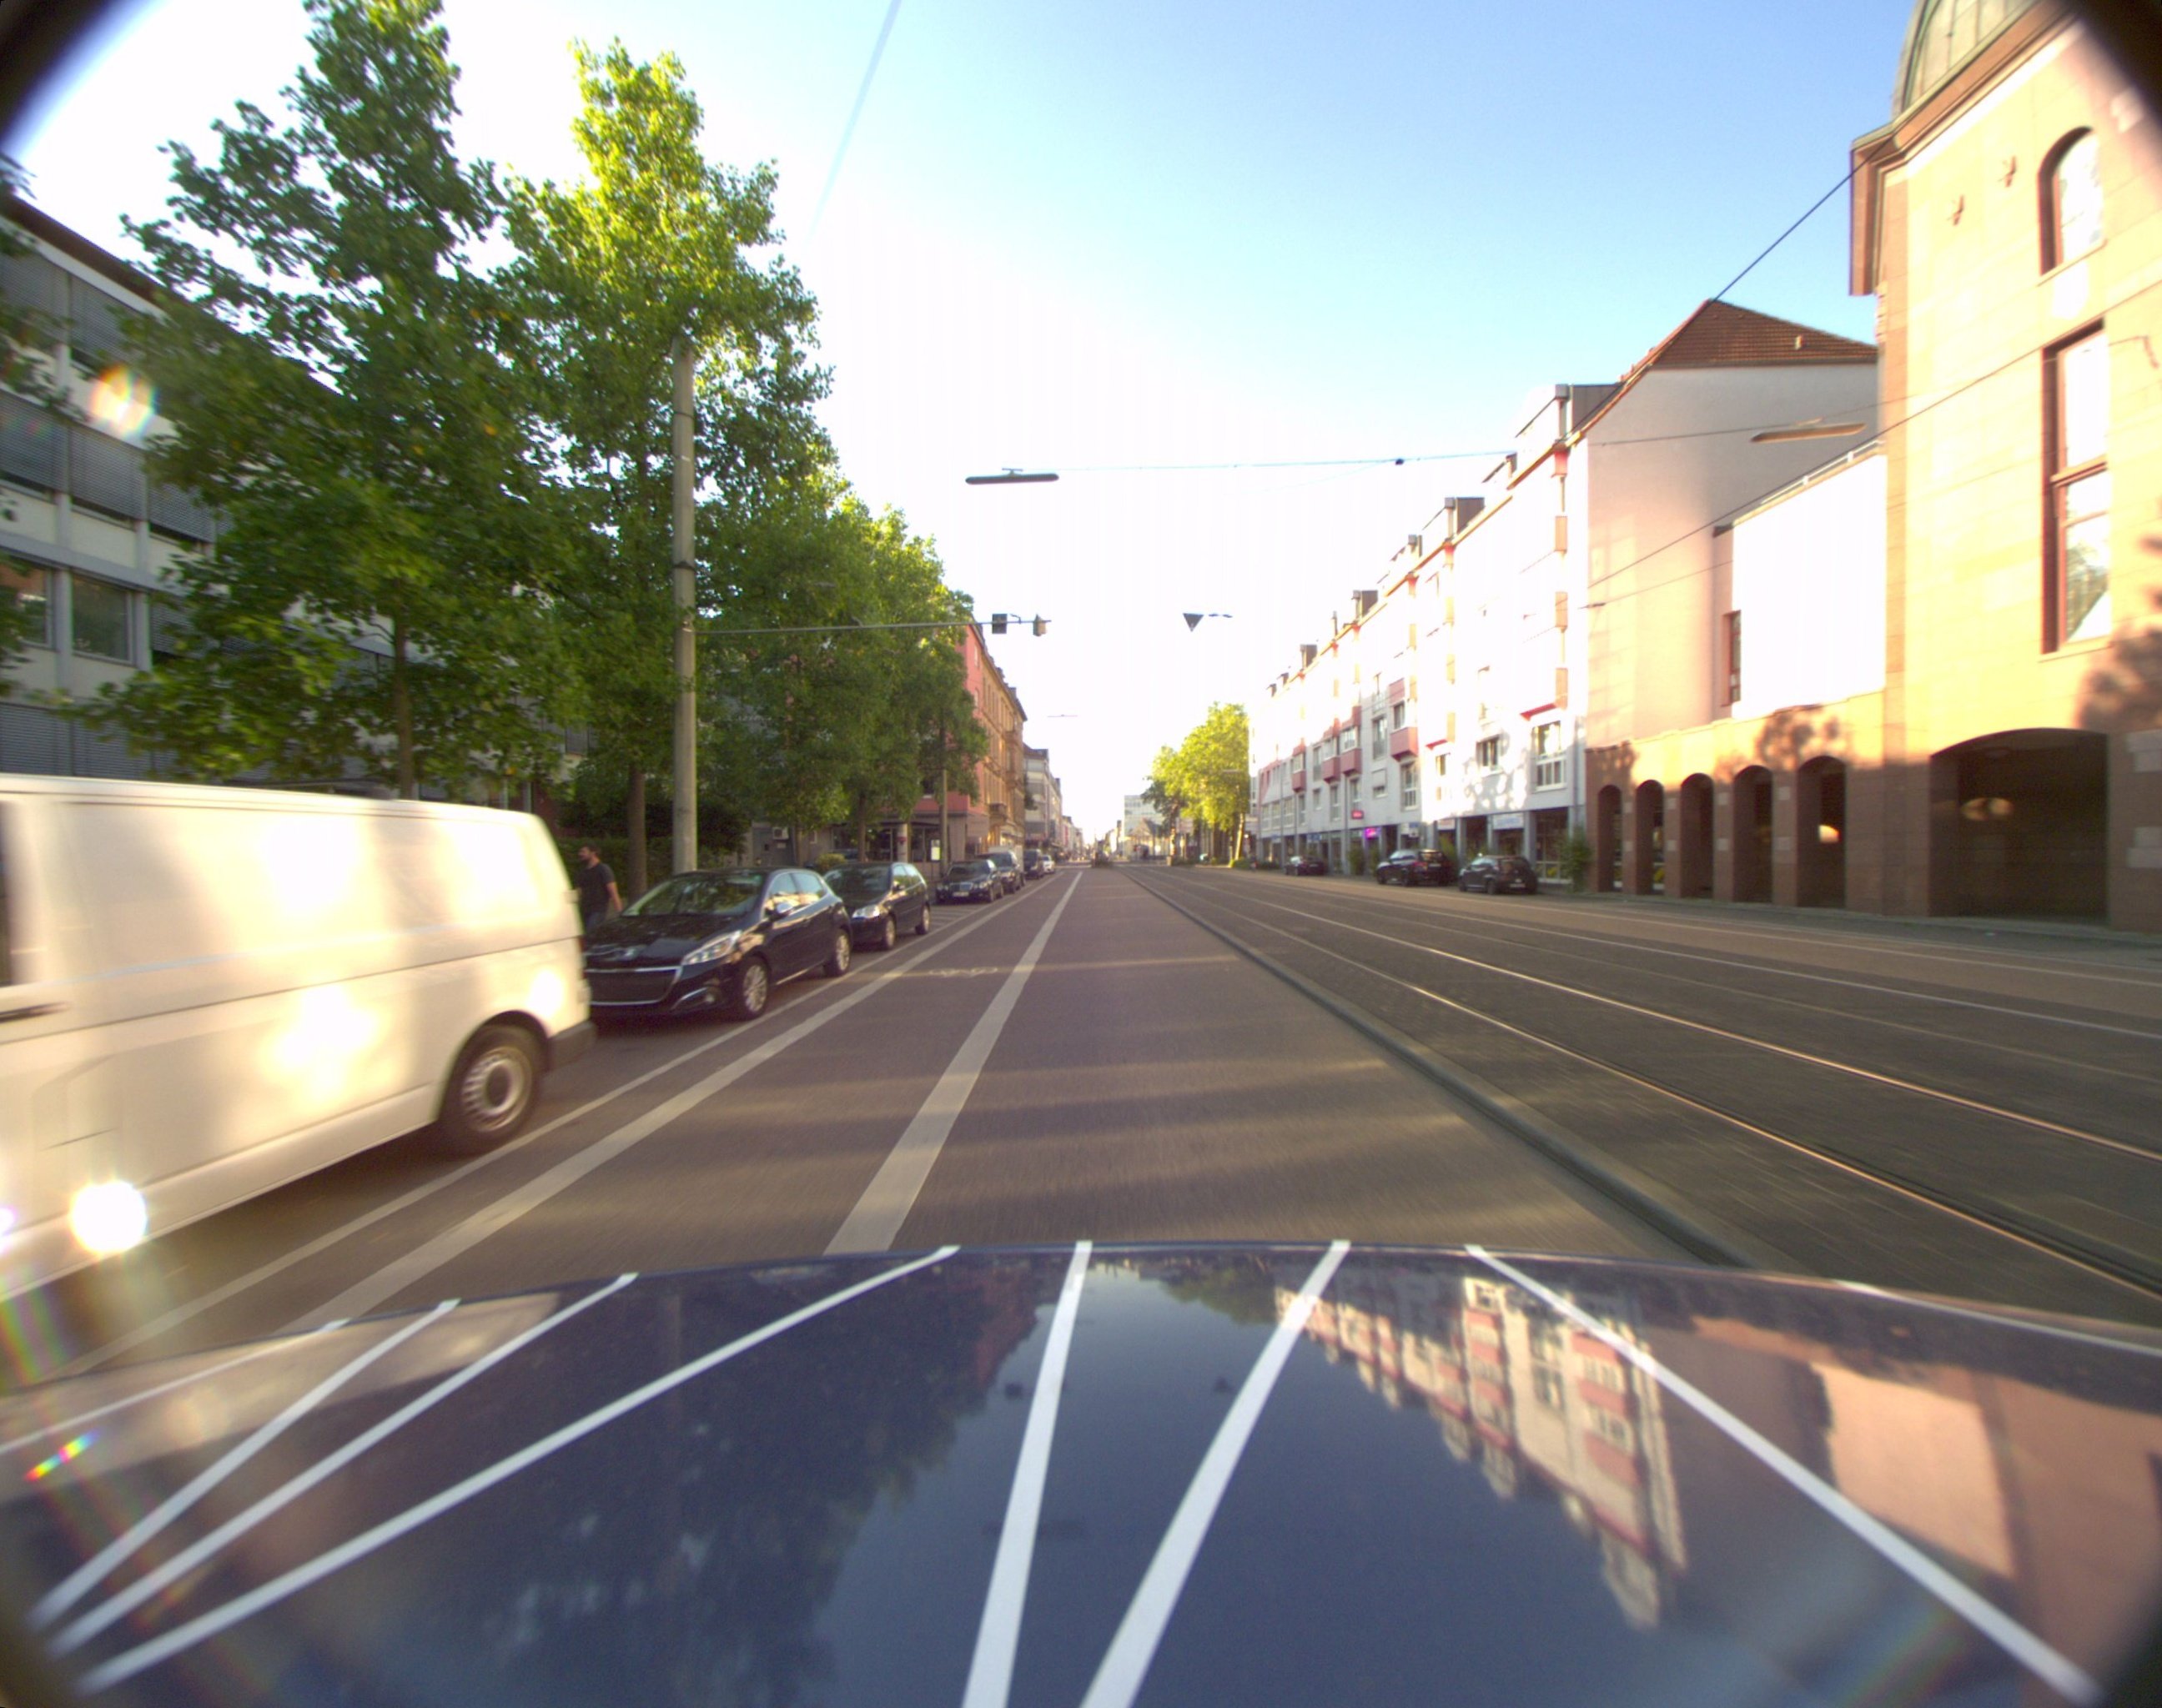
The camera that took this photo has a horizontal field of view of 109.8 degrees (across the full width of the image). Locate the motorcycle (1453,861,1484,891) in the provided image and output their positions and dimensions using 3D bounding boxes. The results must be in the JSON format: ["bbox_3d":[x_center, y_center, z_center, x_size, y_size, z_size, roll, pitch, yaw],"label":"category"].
[{"bbox_3d":[17.356,0.961,34.047,0.771,1.272,2.139,-2,0,14],"label":"motorcycle"}]

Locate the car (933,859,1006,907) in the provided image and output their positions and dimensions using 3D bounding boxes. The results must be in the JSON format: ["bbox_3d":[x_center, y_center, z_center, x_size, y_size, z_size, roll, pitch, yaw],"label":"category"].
[{"bbox_3d":[-3.707,0.923,25.916,1.784,1.420,4.212,-2,0,1],"label":"car"}]

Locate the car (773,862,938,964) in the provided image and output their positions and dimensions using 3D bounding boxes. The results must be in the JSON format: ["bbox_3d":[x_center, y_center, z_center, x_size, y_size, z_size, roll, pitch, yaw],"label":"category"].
[{"bbox_3d":[-3.856,0.935,13.712,1.597,1.485,3.902,-1,0,3],"label":"car"}]

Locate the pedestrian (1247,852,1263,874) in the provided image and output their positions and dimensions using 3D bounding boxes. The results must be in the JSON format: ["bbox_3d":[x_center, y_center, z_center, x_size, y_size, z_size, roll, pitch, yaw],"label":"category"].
[{"bbox_3d":[14.053,0.697,61.551,1.096,1.768,1.253,0,1,6],"label":"pedestrian"}]

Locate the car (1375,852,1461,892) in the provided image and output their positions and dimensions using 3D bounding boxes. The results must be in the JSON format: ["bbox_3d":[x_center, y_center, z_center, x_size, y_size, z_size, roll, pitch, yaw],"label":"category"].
[{"bbox_3d":[15.670,0.796,35.620,1.964,1.690,4.560,-2,0,-1],"label":"car"}]

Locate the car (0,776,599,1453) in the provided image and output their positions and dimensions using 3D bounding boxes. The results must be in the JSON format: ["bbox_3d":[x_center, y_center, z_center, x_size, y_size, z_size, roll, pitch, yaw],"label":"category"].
[{"bbox_3d":[-4.164,0.798,2.502,1.881,2.009,4.905,-2,0,1],"label":"car"}]

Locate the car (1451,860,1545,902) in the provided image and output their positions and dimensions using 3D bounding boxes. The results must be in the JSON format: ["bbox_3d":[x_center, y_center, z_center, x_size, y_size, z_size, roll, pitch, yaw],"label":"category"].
[{"bbox_3d":[15.792,0.977,28.987,1.646,1.392,3.683,-2,0,2],"label":"car"}]

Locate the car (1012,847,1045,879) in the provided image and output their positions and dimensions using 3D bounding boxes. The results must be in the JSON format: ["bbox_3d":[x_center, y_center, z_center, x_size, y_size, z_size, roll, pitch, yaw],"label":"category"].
[{"bbox_3d":[-3.267,0.525,48.027,1.697,1.832,4.695,-2,0,1],"label":"car"}]

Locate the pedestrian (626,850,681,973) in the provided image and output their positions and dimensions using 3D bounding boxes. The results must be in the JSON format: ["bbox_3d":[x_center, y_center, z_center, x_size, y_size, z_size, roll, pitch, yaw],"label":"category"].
[{"bbox_3d":[-6.095,0.807,10.852,0.494,1.703,0.437,2,1,1],"label":"pedestrian"}]

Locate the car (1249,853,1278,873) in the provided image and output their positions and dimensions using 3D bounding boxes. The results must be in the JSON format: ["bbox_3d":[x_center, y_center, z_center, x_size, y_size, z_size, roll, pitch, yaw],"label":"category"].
[{"bbox_3d":[16.893,0.768,70.362,1.931,1.787,4.384,0,0,4],"label":"car"}]

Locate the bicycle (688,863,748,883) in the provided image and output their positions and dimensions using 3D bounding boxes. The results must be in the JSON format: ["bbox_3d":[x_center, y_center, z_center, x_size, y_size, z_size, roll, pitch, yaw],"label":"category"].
[{"bbox_3d":[-19.442,1.026,40.765,2.805,1.052,0.822,0,1,-4],"label":"bicycle"}]

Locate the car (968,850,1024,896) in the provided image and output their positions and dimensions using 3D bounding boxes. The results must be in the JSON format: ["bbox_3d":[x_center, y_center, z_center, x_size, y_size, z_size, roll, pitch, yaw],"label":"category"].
[{"bbox_3d":[-3.509,0.741,32.145,1.784,1.735,4.474,-2,0,0],"label":"car"}]

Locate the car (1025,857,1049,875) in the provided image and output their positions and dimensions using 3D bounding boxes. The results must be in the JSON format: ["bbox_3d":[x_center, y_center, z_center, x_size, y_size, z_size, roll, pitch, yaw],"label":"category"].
[{"bbox_3d":[-3.142,0.824,54.662,1.420,1.183,3.086,-2,0,1],"label":"car"}]

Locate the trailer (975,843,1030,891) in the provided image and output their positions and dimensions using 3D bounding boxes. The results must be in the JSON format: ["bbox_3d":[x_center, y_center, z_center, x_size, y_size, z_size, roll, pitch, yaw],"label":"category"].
[{"bbox_3d":[-3.748,0.577,37.055,1.783,2.136,5.316,-2,0,3],"label":"trailer"}]

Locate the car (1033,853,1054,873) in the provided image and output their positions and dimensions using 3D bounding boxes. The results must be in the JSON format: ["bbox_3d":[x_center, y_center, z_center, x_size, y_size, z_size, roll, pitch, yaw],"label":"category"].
[{"bbox_3d":[-2.901,0.694,59.562,1.420,1.425,3.872,-2,0,1],"label":"car"}]

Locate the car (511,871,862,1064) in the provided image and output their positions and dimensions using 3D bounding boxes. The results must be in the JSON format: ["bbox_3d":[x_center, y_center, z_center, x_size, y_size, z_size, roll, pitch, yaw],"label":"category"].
[{"bbox_3d":[-3.928,1.015,8.427,1.687,1.483,3.911,-2,0,2],"label":"car"}]

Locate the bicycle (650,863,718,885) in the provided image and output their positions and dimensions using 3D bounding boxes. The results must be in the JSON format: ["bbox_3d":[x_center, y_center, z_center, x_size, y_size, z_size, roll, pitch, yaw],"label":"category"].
[{"bbox_3d":[-19.205,0.958,36.793,2.805,1.052,0.822,0,1,-4],"label":"bicycle"}]

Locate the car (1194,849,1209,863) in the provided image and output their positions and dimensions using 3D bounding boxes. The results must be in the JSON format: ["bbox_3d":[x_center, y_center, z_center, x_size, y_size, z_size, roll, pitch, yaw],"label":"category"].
[{"bbox_3d":[14.522,0.271,91.848,1.383,1.664,2.882,0,0,1],"label":"car"}]

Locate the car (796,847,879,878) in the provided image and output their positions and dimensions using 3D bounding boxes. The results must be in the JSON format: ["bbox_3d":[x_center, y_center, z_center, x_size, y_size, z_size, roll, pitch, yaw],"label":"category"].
[{"bbox_3d":[-14.301,0.486,44.811,4.367,1.662,1.589,2,0,-3],"label":"car"}]

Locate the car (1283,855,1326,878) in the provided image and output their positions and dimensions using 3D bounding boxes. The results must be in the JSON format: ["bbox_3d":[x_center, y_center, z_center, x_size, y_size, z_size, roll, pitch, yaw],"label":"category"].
[{"bbox_3d":[16.022,0.892,54.660,1.829,1.500,4.561,-2,0,1],"label":"car"}]

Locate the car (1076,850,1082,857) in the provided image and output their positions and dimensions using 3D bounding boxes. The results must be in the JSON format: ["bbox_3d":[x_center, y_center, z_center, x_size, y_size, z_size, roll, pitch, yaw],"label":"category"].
[{"bbox_3d":[-0.490,-0.137,182.831,1.420,1.612,3.627,-2,0,1],"label":"car"}]

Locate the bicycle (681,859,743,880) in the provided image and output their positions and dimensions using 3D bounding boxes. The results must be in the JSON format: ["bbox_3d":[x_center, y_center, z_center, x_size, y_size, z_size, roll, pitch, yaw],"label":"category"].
[{"bbox_3d":[-19.273,0.814,39.701,2.805,1.052,0.822,0,1,-4],"label":"bicycle"}]
